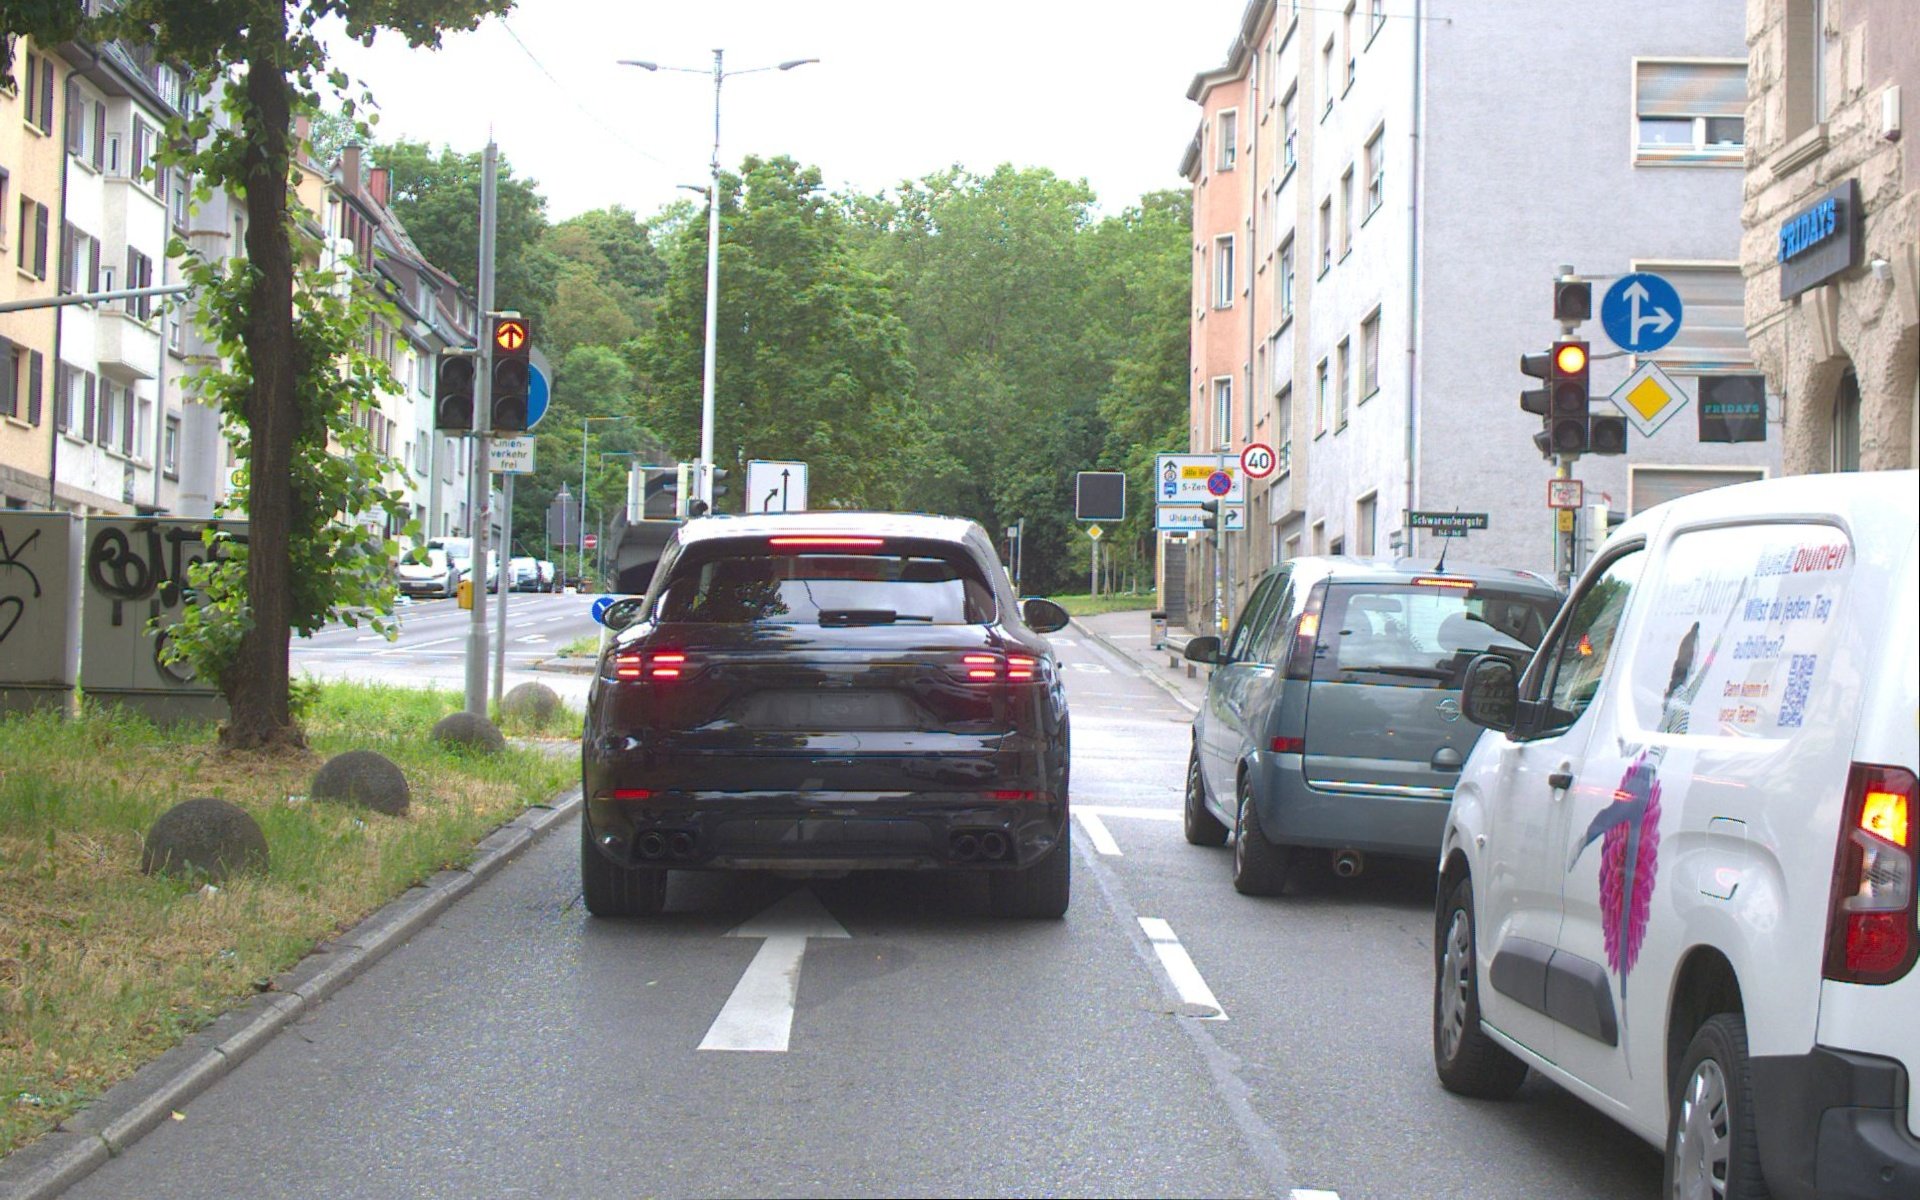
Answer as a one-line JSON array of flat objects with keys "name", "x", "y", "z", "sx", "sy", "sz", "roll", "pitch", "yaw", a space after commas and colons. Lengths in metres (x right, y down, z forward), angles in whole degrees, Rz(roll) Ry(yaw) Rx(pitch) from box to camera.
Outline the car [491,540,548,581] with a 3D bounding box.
[{"name": "car", "x": -17.172, "y": -1.554, "z": 134.194, "sx": 1.794, "sy": 1.505, "sz": 4.000, "roll": 2, "pitch": 1, "yaw": -2}]

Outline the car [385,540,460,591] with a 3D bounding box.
[{"name": "car", "x": -16.771, "y": -1.099, "z": 107.410, "sx": 1.794, "sy": 1.505, "sz": 4.000, "roll": 2, "pitch": 1, "yaw": -2}]

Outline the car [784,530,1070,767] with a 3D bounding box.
[{"name": "car", "x": -0.218, "y": 0.332, "z": 26.201, "sx": 1.994, "sy": 1.647, "sz": 4.000, "roll": 1, "pitch": 0, "yaw": 0}]

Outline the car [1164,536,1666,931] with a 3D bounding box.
[{"name": "car", "x": 2.107, "y": 0.555, "z": 16.912, "sx": 1.752, "sy": 1.587, "sz": 3.631, "roll": 4, "pitch": 2, "yaw": -2}]

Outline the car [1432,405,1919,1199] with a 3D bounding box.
[{"name": "car", "x": 2.345, "y": 0.630, "z": 8.656, "sx": 1.850, "sy": 1.819, "sz": 5.020, "roll": 2, "pitch": -1, "yaw": 4}]

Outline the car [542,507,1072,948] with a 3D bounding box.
[{"name": "car", "x": -0.566, "y": 0.438, "z": 15.026, "sx": 1.994, "sy": 1.647, "sz": 4.000, "roll": 1, "pitch": 1, "yaw": 0}]
